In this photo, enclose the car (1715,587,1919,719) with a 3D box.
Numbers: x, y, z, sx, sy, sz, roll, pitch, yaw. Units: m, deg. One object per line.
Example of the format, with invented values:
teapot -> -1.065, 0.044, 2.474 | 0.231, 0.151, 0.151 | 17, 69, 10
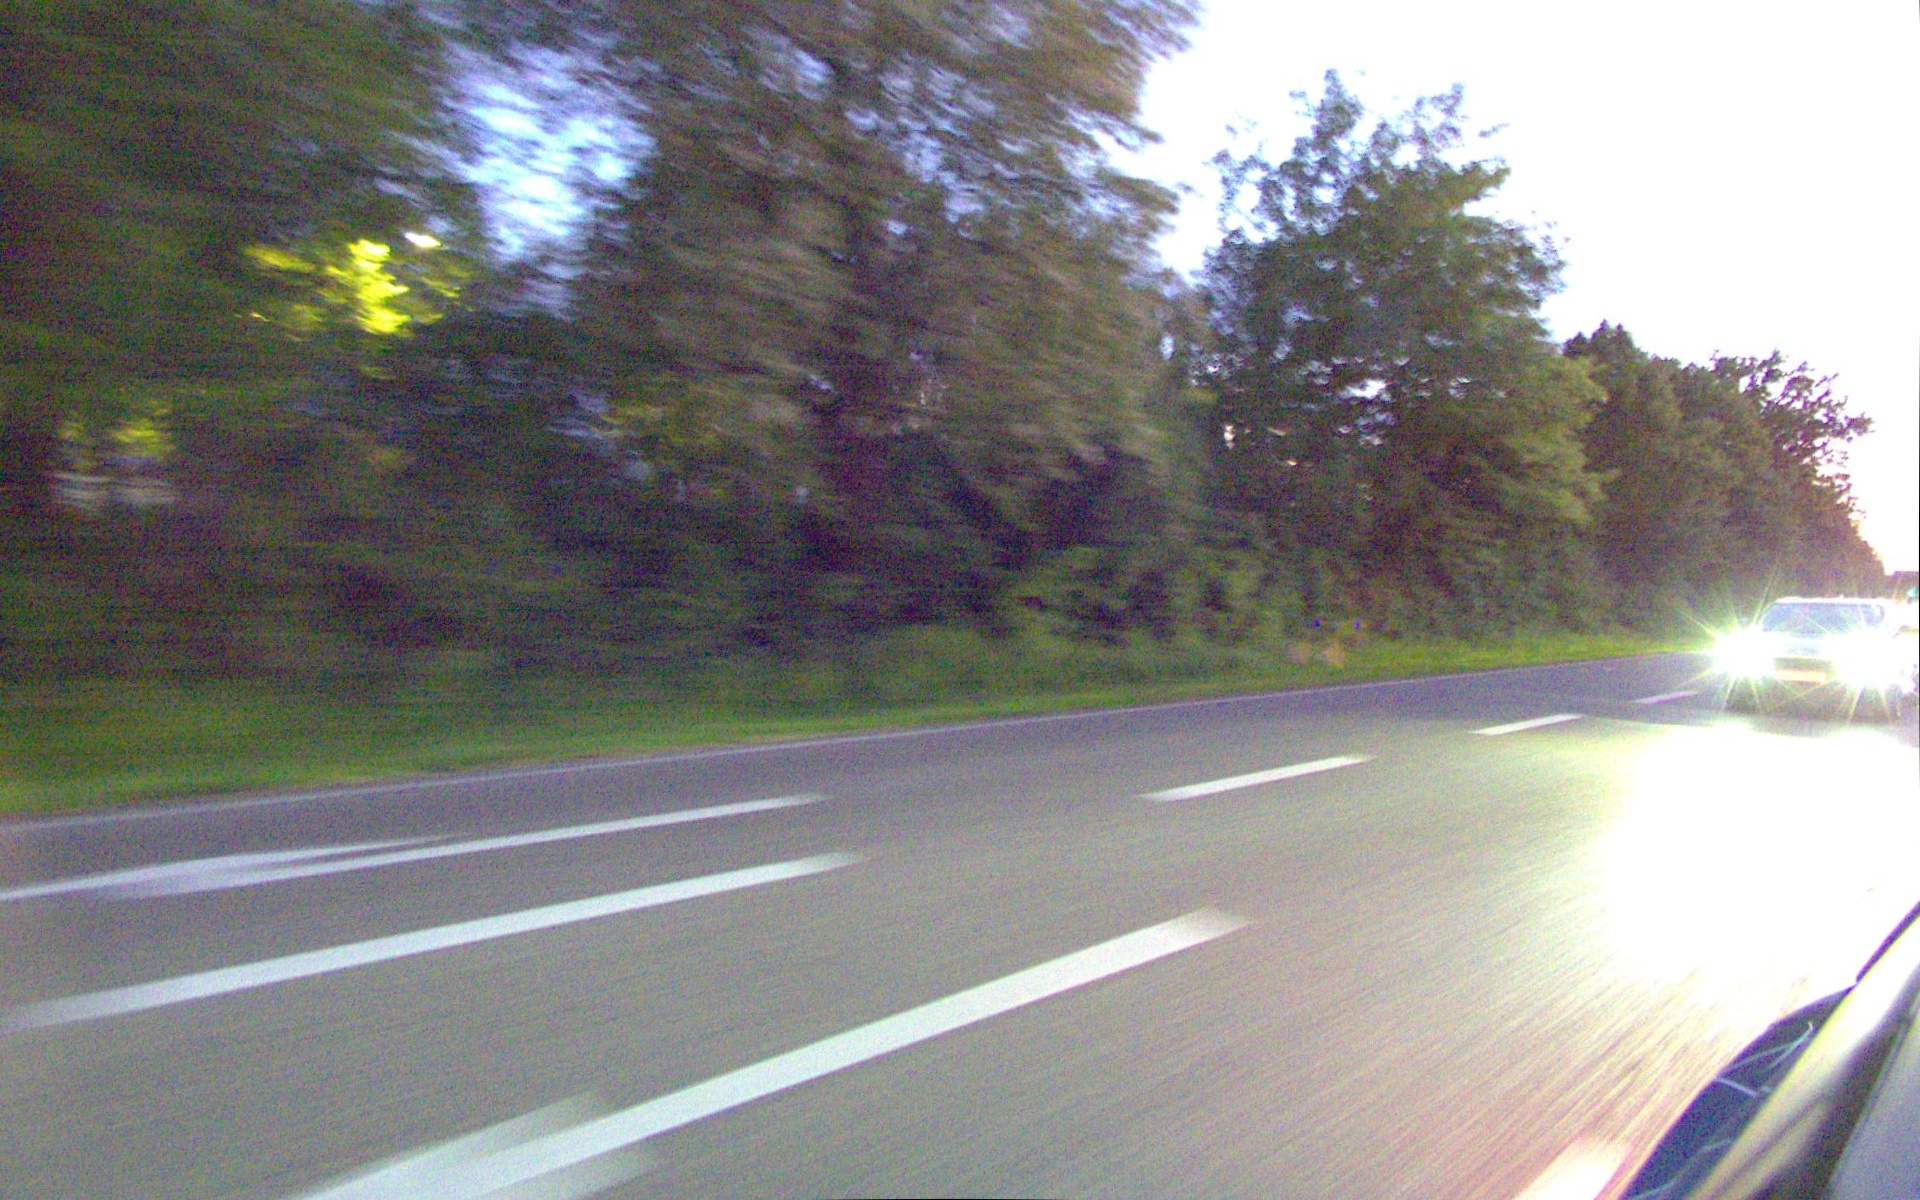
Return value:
car -> 12.925, 0.660, 14.897 | 4.629, 1.630, 1.997 | 0, 1, -41
